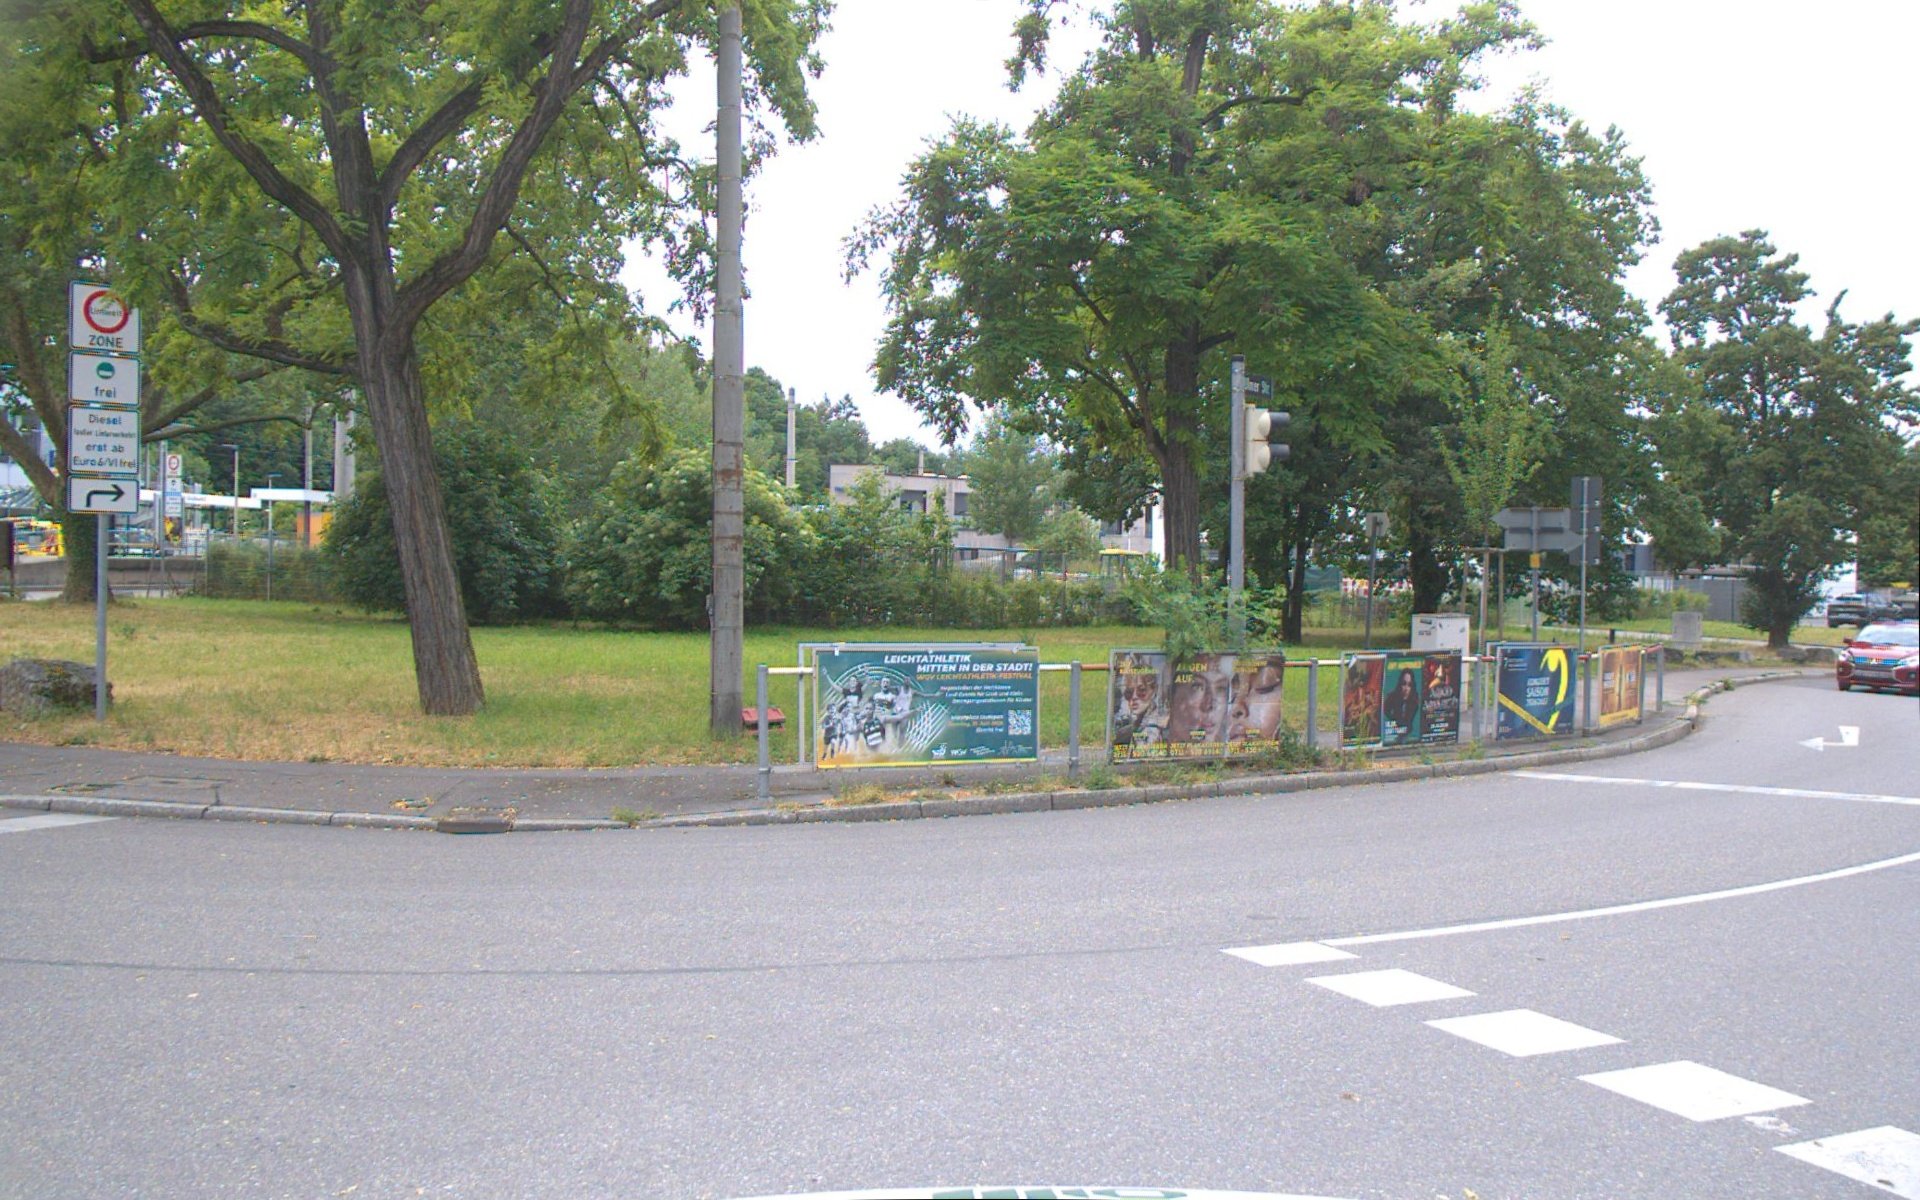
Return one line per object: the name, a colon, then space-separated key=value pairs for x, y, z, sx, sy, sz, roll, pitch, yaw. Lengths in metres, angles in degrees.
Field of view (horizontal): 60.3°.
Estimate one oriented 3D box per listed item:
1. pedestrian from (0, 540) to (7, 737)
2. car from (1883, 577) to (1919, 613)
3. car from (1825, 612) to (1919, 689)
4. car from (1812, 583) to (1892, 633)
pedestrian: x=-9.040 y=0.347 z=14.655 sx=0.769 sy=1.770 sz=0.696 roll=1 pitch=1 yaw=13
car: x=56.499 y=-0.310 z=98.102 sx=1.938 sy=2.048 sz=4.189 roll=3 pitch=2 yaw=44
car: x=19.662 y=1.016 z=34.758 sx=1.703 sy=1.491 sz=3.810 roll=0 pitch=0 yaw=43
car: x=39.124 y=0.349 z=72.494 sx=1.938 sy=2.048 sz=4.189 roll=3 pitch=2 yaw=44
